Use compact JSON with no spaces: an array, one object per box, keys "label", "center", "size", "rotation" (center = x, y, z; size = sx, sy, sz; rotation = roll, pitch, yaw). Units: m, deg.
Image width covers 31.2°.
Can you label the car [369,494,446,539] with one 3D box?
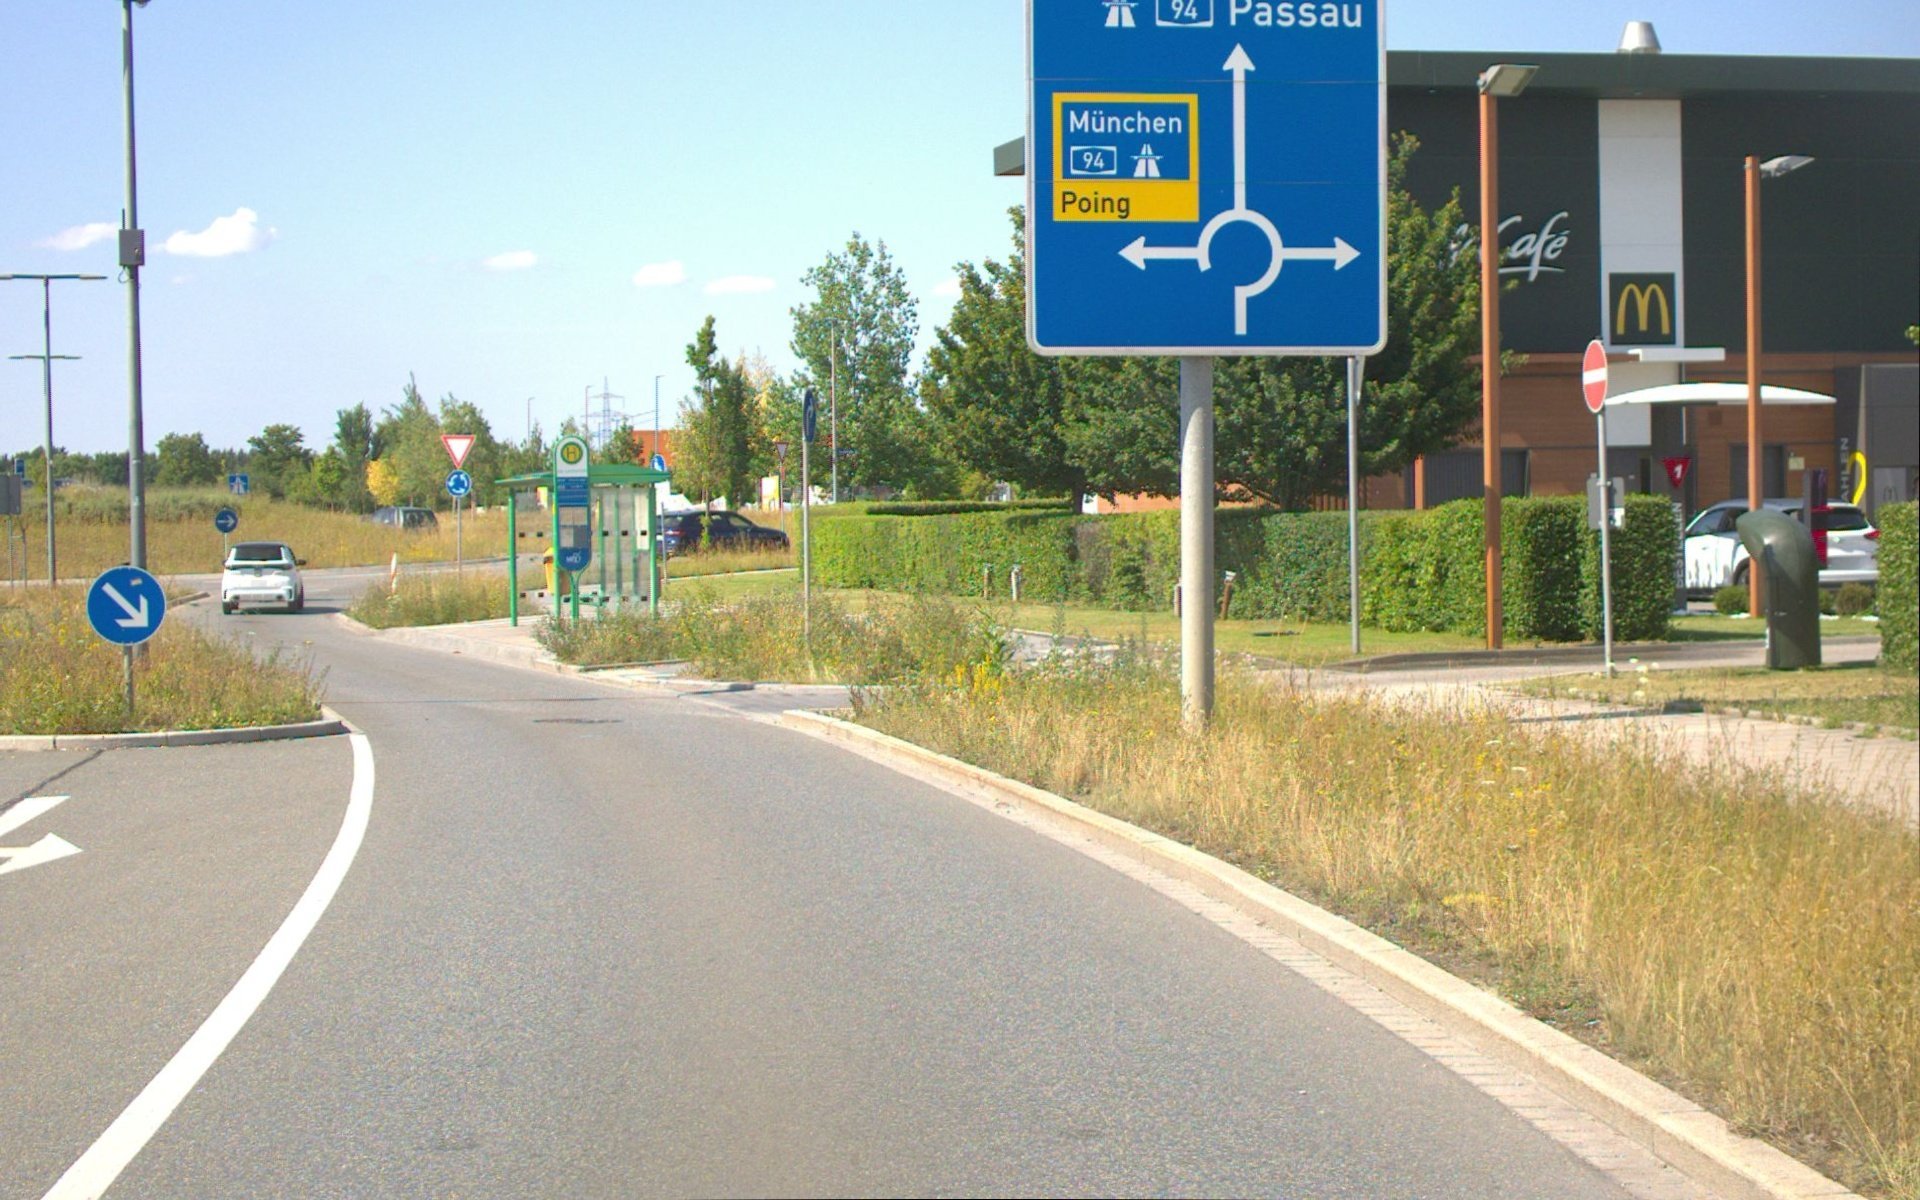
[{"label":"car","center":[-18.120,-2.736,112.588],"size":[1.616,1.429,3.793],"rotation":[-1,1,-23]}]

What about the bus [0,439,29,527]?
[{"label":"bus","center":[-36.281,-3.845,117.780],"size":[2.788,3.068,12.197],"rotation":[-1,3,14]}]

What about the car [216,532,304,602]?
[{"label":"car","center":[-14.825,-0.716,72.674],"size":[1.616,1.429,3.794],"rotation":[-1,1,-14]}]

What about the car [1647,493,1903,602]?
[{"label":"car","center":[11.362,-0.744,48.200],"size":[1.792,1.429,4.001],"rotation":[-2,1,-15]}]
